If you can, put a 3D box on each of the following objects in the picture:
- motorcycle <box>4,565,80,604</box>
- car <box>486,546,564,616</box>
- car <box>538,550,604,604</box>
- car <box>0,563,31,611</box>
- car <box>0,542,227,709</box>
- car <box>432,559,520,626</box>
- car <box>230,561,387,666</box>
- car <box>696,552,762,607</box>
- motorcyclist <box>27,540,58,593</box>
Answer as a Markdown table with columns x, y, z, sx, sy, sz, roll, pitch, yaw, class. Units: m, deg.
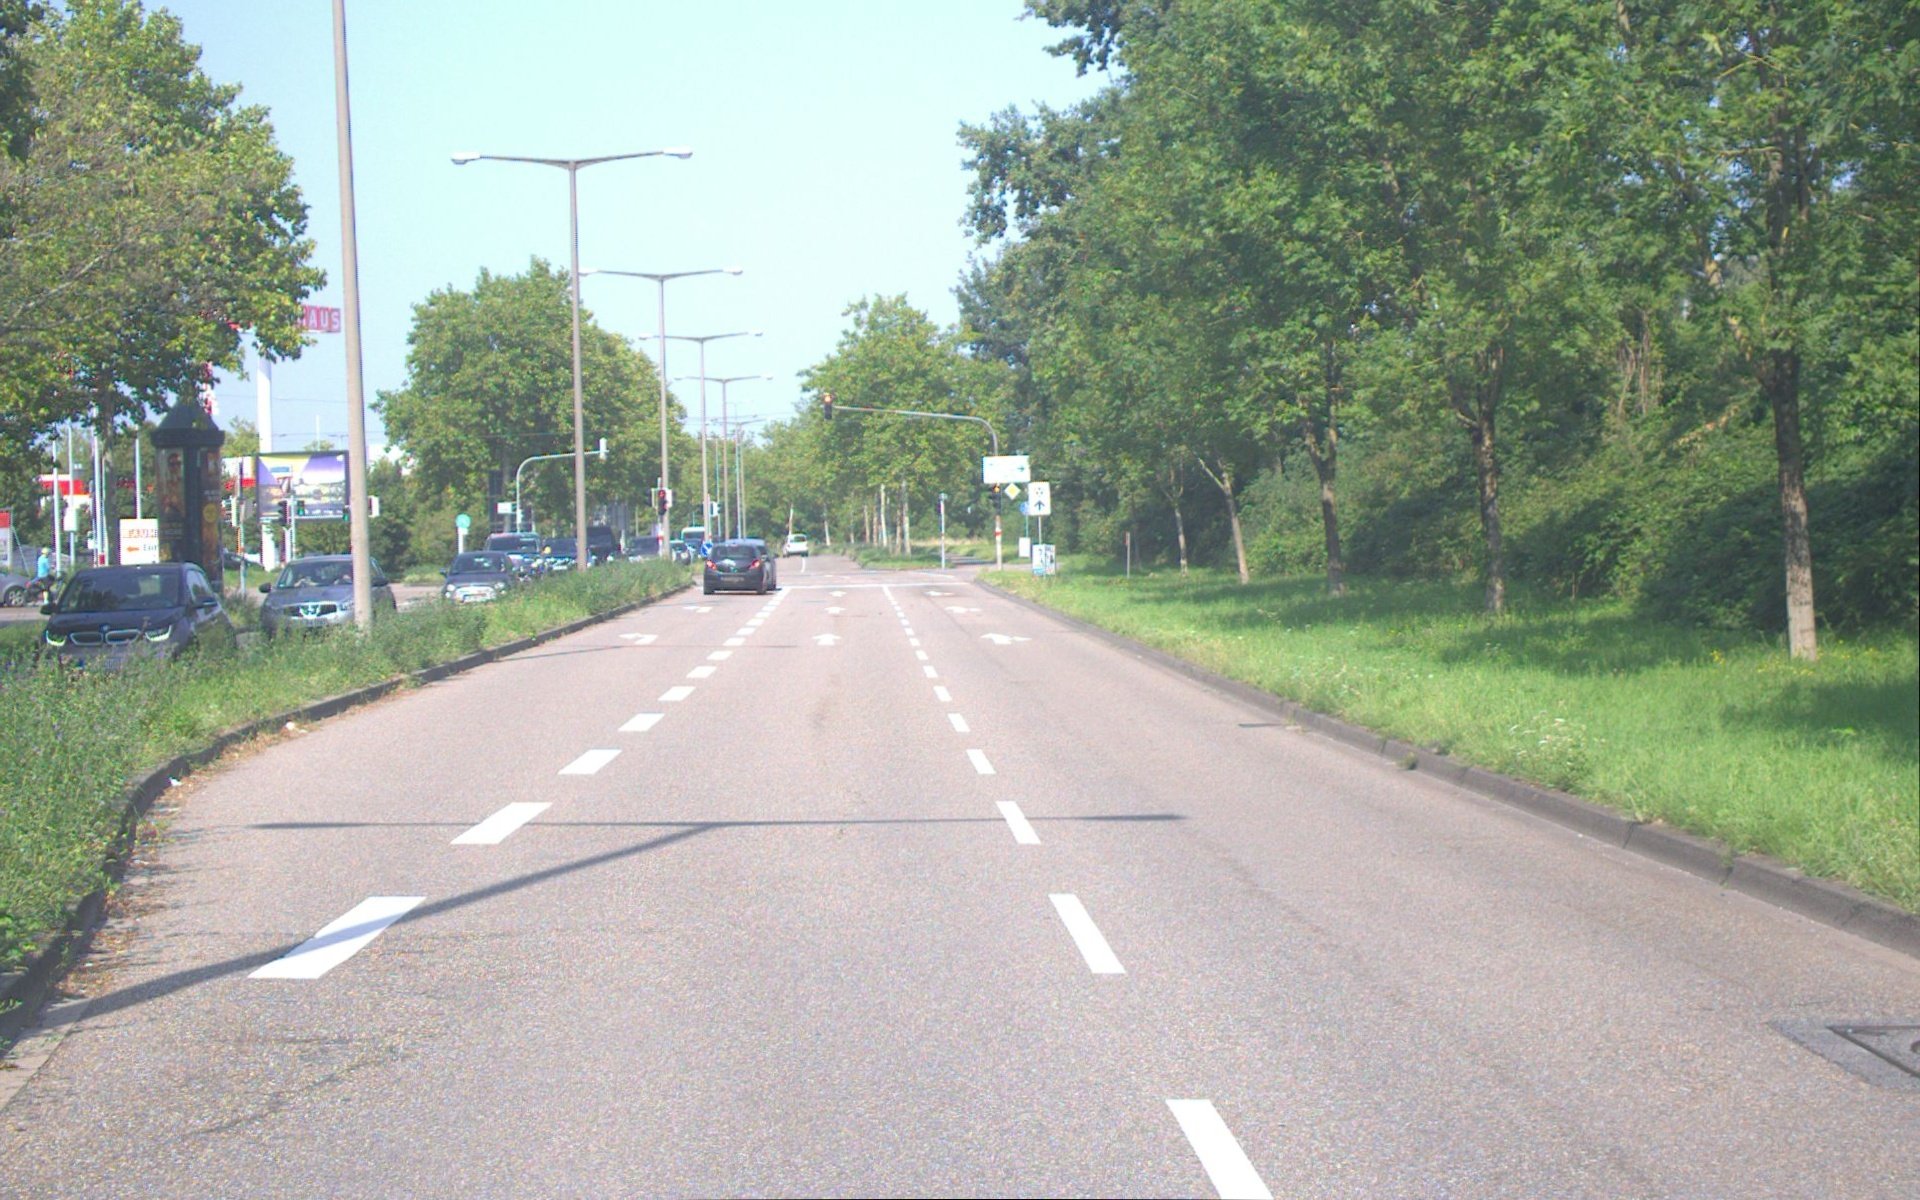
| x | y | z | sx | sy | sz | roll | pitch | yaw | class |
| --- | --- | --- | --- | --- | --- | --- | --- | --- | --- |
| -27.335 | -0.466 | 102.344 | 2.070 | 1.132 | 0.677 | -1 | 1 | -37 | motorcycle |
| -13.060 | -0.587 | 103.379 | 1.931 | 2.021 | 4.567 | -2 | 1 | -3 | car |
| -14.288 | -0.853 | 126.469 | 1.993 | 1.700 | 4.505 | -8 | 1 | -3 | car |
| -30.129 | -0.383 | 103.860 | 3.691 | 1.438 | 1.466 | -1 | 1 | -38 | car |
| -9.991 | 0.256 | 40.056 | 1.993 | 1.753 | 4.307 | -3 | 1 | -1 | car |
| -11.142 | -0.192 | 79.337 | 1.676 | 1.481 | 3.493 | 0 | 1 | -3 | car |
| -10.631 | 0.186 | 56.371 | 1.879 | 1.588 | 4.109 | -2 | 1 | -2 | car |
| -6.491 | -0.602 | 97.017 | 1.692 | 1.481 | 4.000 | -2 | 1 | -2 | car |
| -27.319 | -1.008 | 102.358 | 0.681 | 1.566 | 0.683 | -1 | 1 | -37 | motorcyclist |
